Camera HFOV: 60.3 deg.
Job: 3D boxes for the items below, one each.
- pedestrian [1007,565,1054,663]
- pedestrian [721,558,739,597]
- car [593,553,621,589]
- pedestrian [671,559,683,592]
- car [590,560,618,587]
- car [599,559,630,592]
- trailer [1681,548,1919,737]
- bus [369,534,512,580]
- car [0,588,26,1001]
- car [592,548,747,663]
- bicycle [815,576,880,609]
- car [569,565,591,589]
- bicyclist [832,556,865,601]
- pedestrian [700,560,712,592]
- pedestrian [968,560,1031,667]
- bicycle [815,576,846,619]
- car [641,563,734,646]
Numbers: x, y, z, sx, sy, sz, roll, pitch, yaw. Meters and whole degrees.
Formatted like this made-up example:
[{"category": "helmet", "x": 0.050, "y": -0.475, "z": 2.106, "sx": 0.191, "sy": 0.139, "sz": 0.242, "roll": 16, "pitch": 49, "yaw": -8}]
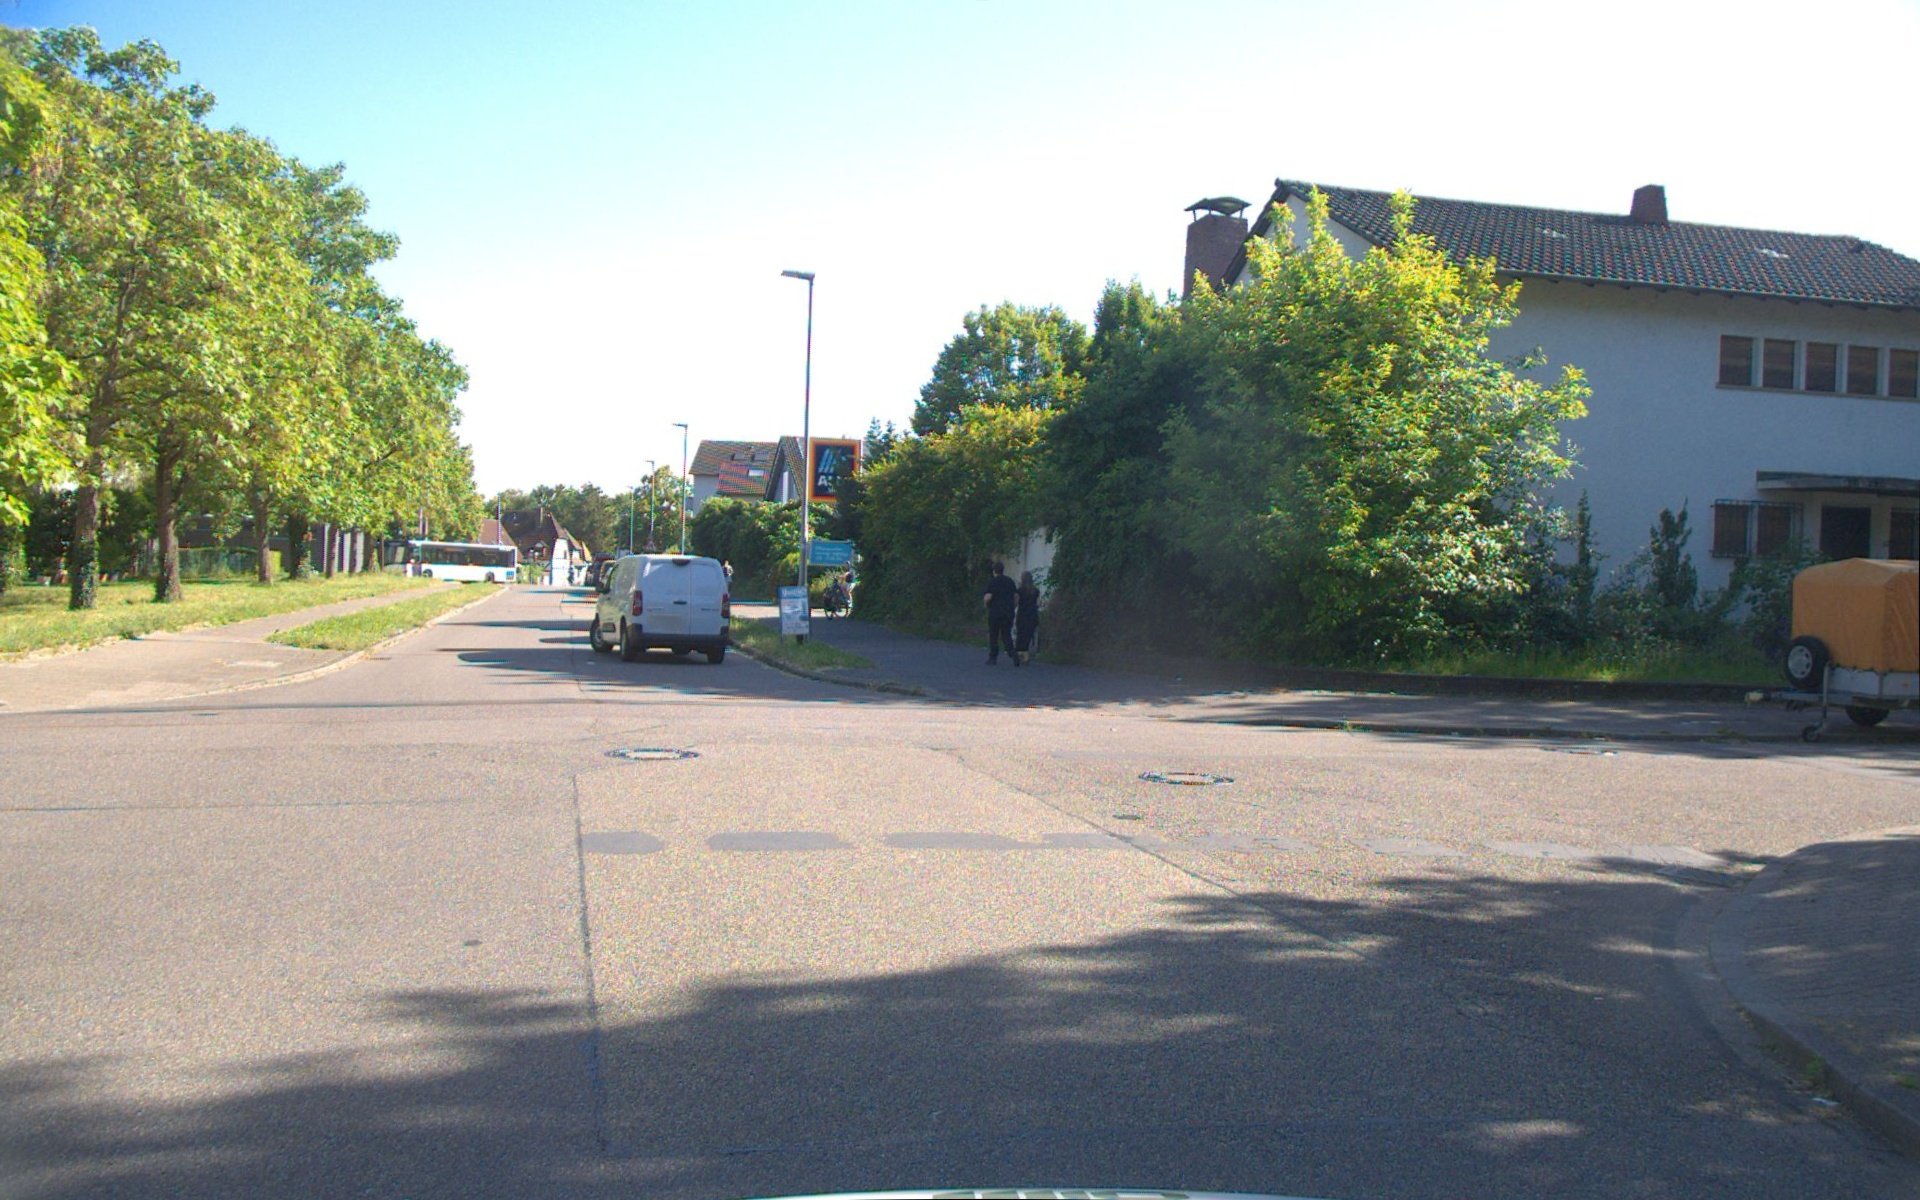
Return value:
[{"category": "pedestrian", "x": 1.195, "y": 0.232, "z": 28.015, "sx": 0.564, "sy": 1.637, "sz": 0.789, "roll": 0, "pitch": 0, "yaw": -17}, {"category": "pedestrian", "x": -11.007, "y": -1.081, "z": 79.218, "sx": 0.783, "sy": 1.813, "sz": 0.808, "roll": 1, "pitch": 1, "yaw": -6}, {"category": "car", "x": -27.891, "y": -2.261, "z": 130.619, "sx": 1.836, "sy": 2.607, "sz": 4.749, "roll": 4, "pitch": -1, "yaw": -15}, {"category": "pedestrian", "x": -14.288, "y": -1.230, "z": 83.609, "sx": 0.556, "sy": 1.665, "sz": 0.545, "roll": 1, "pitch": 1, "yaw": -9}, {"category": "car", "x": -26.592, "y": -1.967, "z": 123.366, "sx": 1.774, "sy": 1.816, "sz": 3.984, "roll": 4, "pitch": -1, "yaw": -15}, {"category": "car", "x": -20.414, "y": -1.457, "z": 97.737, "sx": 1.694, "sy": 1.869, "sz": 3.987, "roll": 2, "pitch": 0, "yaw": -13}, {"category": "trailer", "x": 11.308, "y": 0.489, "z": 20.468, "sx": 3.993, "sy": 2.156, "sz": 1.971, "roll": 1, "pitch": 2, "yaw": -15}, {"category": "bus", "x": -35.069, "y": -2.854, "z": 112.285, "sx": 2.977, "sy": 2.873, "sz": 10.586, "roll": 2, "pitch": 1, "yaw": 24}, {"category": "car", "x": -3.679, "y": 0.702, "z": 4.357, "sx": 1.639, "sy": 1.492, "sz": 4.159, "roll": 0, "pitch": 0, "yaw": -23}, {"category": "car", "x": -5.333, "y": 0.065, "z": 29.901, "sx": 1.965, "sy": 1.914, "sz": 4.262, "roll": 1, "pitch": 1, "yaw": -21}, {"category": "bicycle", "x": -4.109, "y": -0.272, "z": 60.287, "sx": 2.241, "sy": 1.158, "sz": 0.784, "roll": 0, "pitch": 0, "yaw": -23}, {"category": "car", "x": -34.136, "y": -2.079, "z": 148.451, "sx": 1.774, "sy": 2.105, "sz": 3.984, "roll": 1, "pitch": 1, "yaw": -15}, {"category": "bicyclist", "x": -4.066, "y": -0.772, "z": 60.252, "sx": 0.949, "sy": 1.612, "sz": 0.903, "roll": 2, "pitch": -2, "yaw": -21}, {"category": "pedestrian", "x": -13.551, "y": -1.289, "z": 88.234, "sx": 0.556, "sy": 1.665, "sz": 0.545, "roll": 1, "pitch": 1, "yaw": -9}, {"category": "pedestrian", "x": 0.651, "y": 0.217, "z": 27.757, "sx": 0.791, "sy": 1.747, "sz": 0.979, "roll": 0, "pitch": 0, "yaw": -17}, {"category": "bicycle", "x": -3.883, "y": -0.071, "z": 49.786, "sx": 0.705, "sy": 1.242, "sz": 1.896, "roll": 0, "pitch": 0, "yaw": 2}, {"category": "car", "x": -6.123, "y": 0.054, "z": 36.827, "sx": 1.695, "sy": 1.685, "sz": 4.338, "roll": 1, "pitch": 1, "yaw": -14}]
